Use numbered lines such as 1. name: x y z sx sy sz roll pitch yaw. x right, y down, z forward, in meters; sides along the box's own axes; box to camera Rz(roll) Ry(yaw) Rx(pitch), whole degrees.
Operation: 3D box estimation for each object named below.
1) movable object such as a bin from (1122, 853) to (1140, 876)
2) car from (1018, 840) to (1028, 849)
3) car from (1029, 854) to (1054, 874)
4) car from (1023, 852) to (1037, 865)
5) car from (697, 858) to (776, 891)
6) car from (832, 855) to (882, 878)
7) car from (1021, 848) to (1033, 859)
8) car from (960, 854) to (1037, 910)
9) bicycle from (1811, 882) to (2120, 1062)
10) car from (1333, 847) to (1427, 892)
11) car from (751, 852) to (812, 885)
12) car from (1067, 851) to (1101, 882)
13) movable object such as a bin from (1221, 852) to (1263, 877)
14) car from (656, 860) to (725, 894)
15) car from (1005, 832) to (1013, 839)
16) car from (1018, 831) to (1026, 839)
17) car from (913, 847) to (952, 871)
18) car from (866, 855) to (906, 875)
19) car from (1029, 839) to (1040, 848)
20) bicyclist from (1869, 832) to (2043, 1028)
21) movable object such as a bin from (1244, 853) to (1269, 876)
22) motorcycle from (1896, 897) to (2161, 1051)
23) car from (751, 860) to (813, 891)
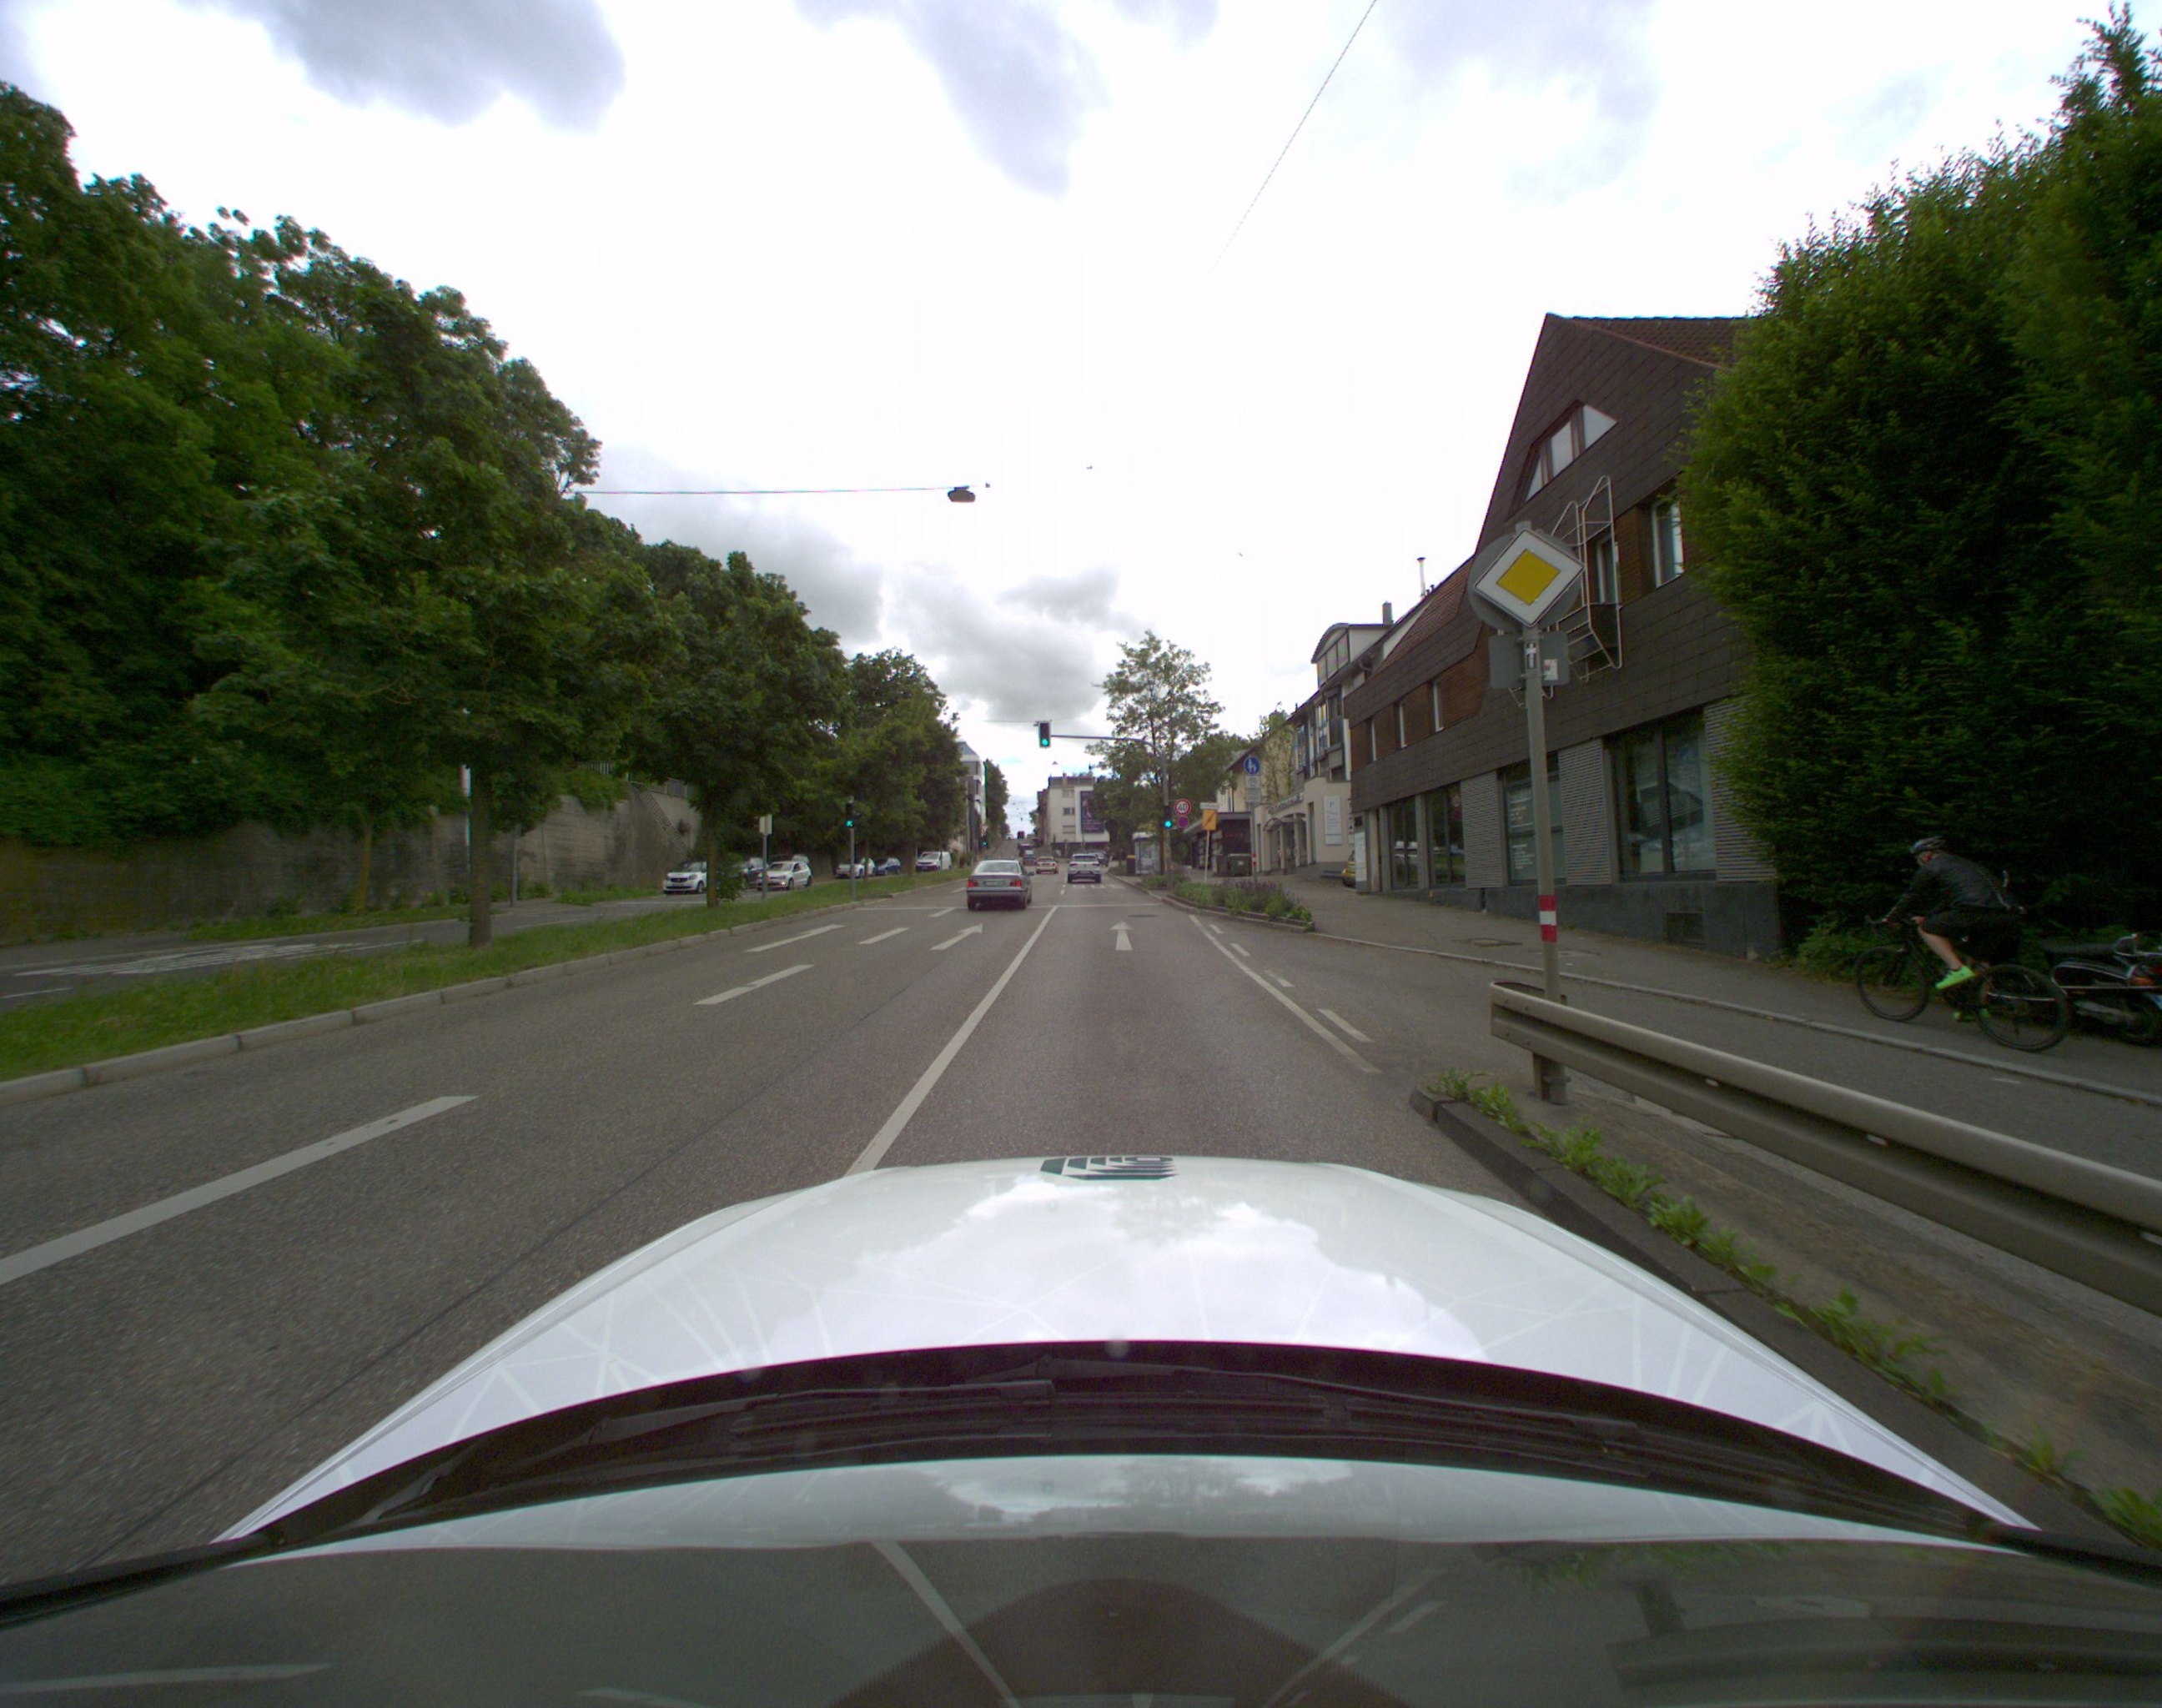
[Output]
1. movable object such as a bin: 3.299 0.656 53.939 1.082 1.481 1.537 -1 0 0
2. car: -10.720 -1.670 149.625 1.776 1.579 3.994 0 0 -4
3. car: -3.289 0.845 68.652 1.773 1.579 4.001 0 0 1
4. car: -6.541 0.606 104.043 1.776 1.579 3.995 0 0 -4
5. car: -18.146 1.054 43.154 1.961 1.656 4.537 0 0 4
6. car: -16.744 0.927 61.065 1.768 1.629 4.185 0 0 13
7. car: -8.384 -0.117 125.640 1.776 1.579 3.994 0 0 -4
8. car: -2.298 0.760 23.748 1.700 1.464 4.002 0 0 2
9. bicycle: 7.796 0.956 7.355 0.569 1.262 2.038 -2 1 0
10. car: 11.808 0.595 32.215 2.987 1.464 1.663 5 1 -7
11. car: -17.921 0.839 48.905 1.772 1.843 4.492 0 0 3
12. car: 0.121 0.661 44.470 1.775 1.579 3.998 0 0 -1
13. movable object such as a bin: 9.957 0.637 50.587 1.881 1.452 4.002 -1 0 2
14. car: -18.371 1.067 38.424 1.775 1.498 3.096 0 0 -1
15. car: -17.603 -4.536 200.407 1.879 1.567 4.383 -2 3 -4
16. car: -15.076 -4.890 207.849 1.990 2.013 3.994 0 0 -4
17. car: -12.604 0.378 69.469 1.928 1.957 5.031 0 0 6
18. car: -15.961 0.894 66.831 1.702 1.528 4.311 0 0 8
19. car: -8.817 -2.004 155.606 2.085 1.613 3.996 -1 0 -3
20. bicyclist: 7.791 0.632 7.299 0.536 1.633 0.947 -1 0 0
21. movable object such as a bin: 10.995 0.671 50.970 1.335 1.409 1.128 -1 0 1
22. motorcycle: 8.613 0.984 7.284 0.693 1.051 1.968 -2 0 2
23. car: -15.182 1.066 41.513 1.723 1.428 3.790 0 0 0
